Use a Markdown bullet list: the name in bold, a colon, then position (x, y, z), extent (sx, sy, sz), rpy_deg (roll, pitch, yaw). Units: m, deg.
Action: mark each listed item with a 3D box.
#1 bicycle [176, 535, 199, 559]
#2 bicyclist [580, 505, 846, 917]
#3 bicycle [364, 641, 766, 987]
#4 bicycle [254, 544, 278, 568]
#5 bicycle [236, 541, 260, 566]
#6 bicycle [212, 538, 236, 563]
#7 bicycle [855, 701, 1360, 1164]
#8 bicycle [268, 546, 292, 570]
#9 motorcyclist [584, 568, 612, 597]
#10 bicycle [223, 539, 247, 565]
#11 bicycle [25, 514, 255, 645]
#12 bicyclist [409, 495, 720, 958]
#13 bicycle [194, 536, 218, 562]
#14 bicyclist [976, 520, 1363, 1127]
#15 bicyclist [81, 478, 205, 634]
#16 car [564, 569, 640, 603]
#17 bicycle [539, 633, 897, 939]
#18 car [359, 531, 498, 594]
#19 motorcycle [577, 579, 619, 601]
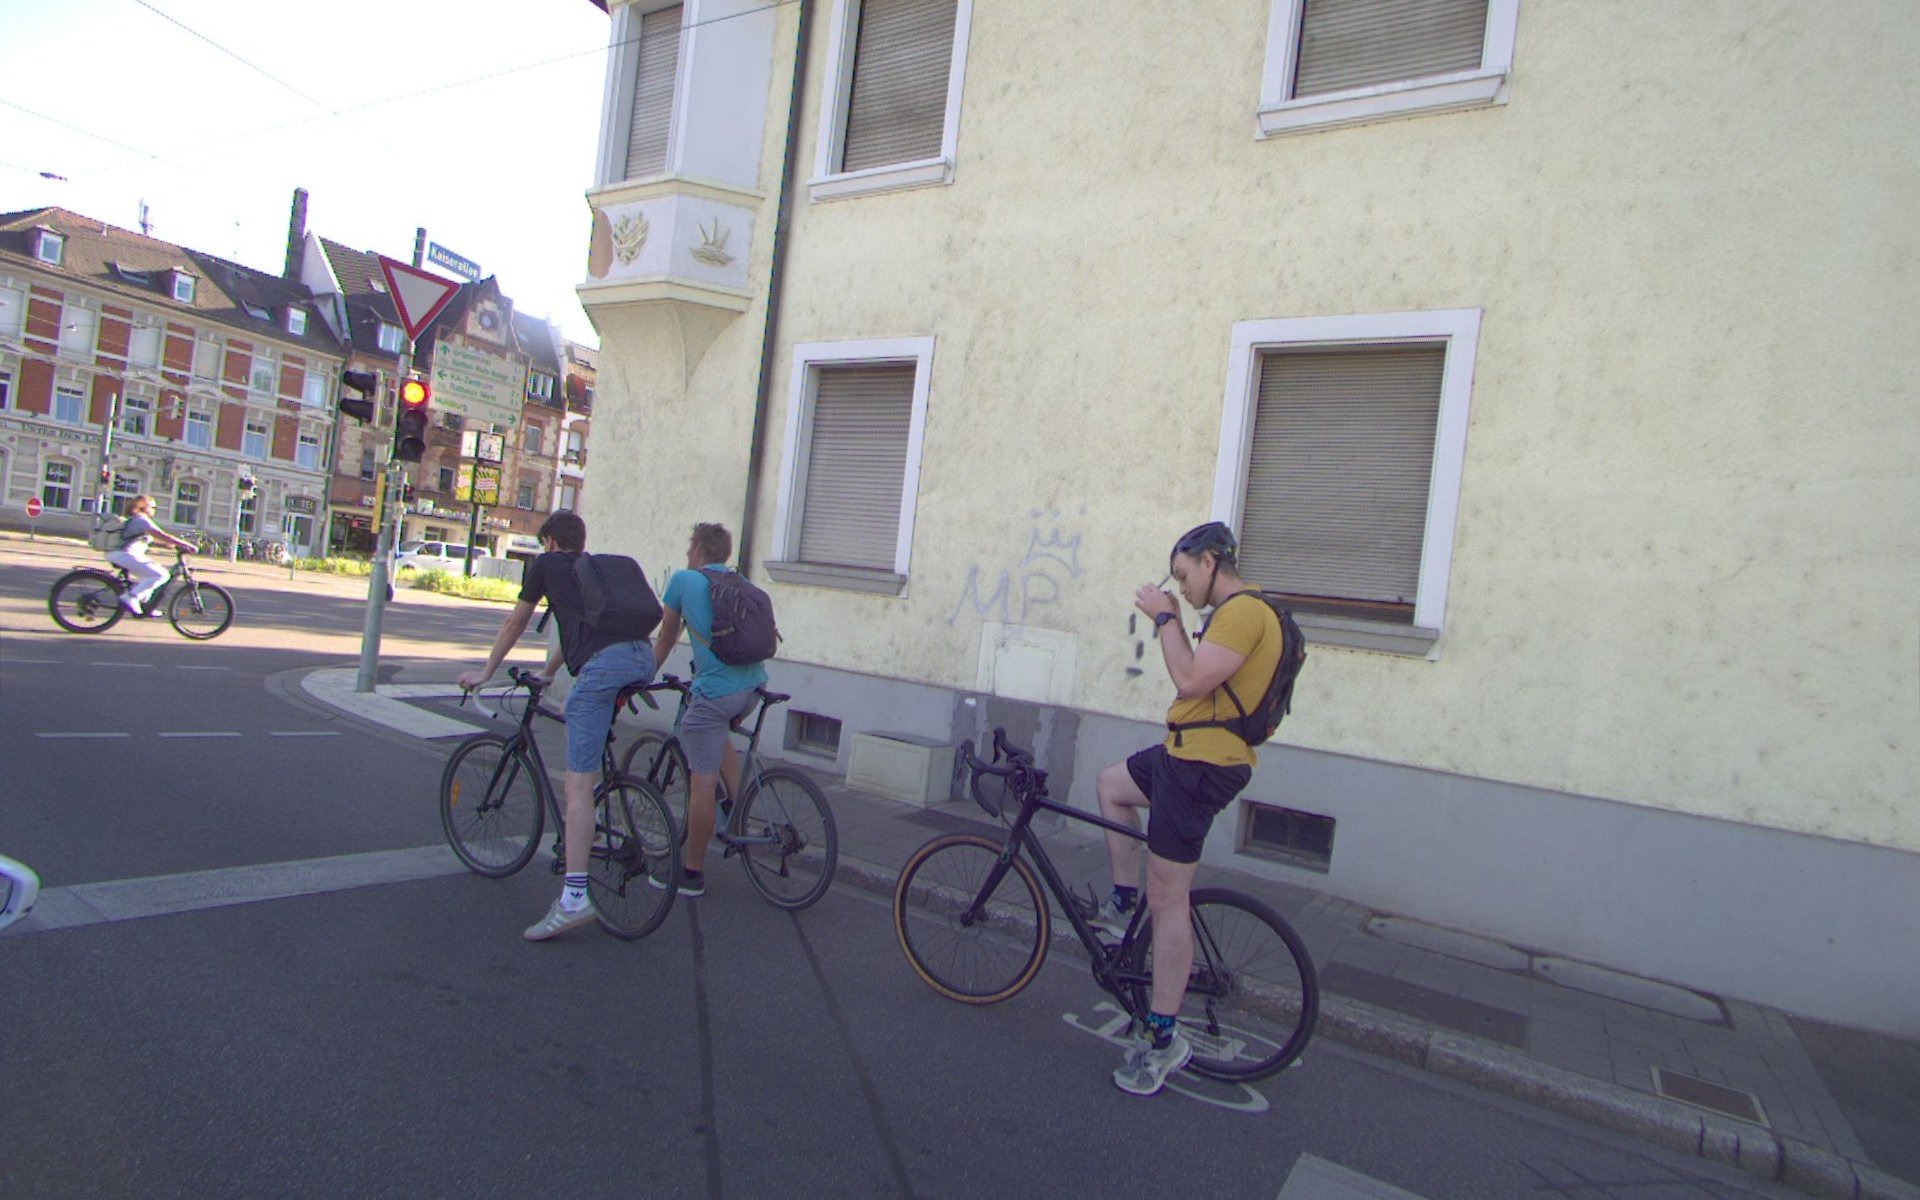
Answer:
- **bicycle**: position (-35.075, -2.418, 45.673), extent (1.759, 0.925, 0.485), rpy_deg (7, 0, 42)
- **bicyclist**: position (-1.294, 0.529, 5.281), extent (0.978, 1.910, 0.652), rpy_deg (7, 0, 32)
- **bicycle**: position (-1.807, 0.840, 4.478), extent (1.858, 1.071, 0.571), rpy_deg (7, 0, 32)
- **bicycle**: position (-33.321, -2.118, 48.298), extent (1.759, 1.033, 0.485), rpy_deg (7, 0, 42)
- **bicycle**: position (-33.685, -2.195, 47.571), extent (1.759, 1.033, 0.485), rpy_deg (7, 0, 42)
- **bicycle**: position (-34.199, -2.296, 46.755), extent (1.759, 1.033, 0.485), rpy_deg (7, 0, 42)
- **bicycle**: position (0.505, 1.095, 3.783), extent (1.670, 1.180, 0.571), rpy_deg (7, 0, 32)
- **bicycle**: position (-33.102, -2.062, 48.986), extent (1.759, 1.033, 0.485), rpy_deg (7, 0, 42)
- **motorcyclist**: position (-18.634, -0.893, 51.814), extent (0.732, 1.371, 1.004), rpy_deg (7, 0, 32)
- **bicycle**: position (-34.012, -2.254, 47.179), extent (1.759, 1.033, 0.485), rpy_deg (7, 0, 42)
- **bicycle**: position (-9.767, -0.198, 12.084), extent (0.613, 1.314, 1.945), rpy_deg (7, -1, 30)
- **bicyclist**: position (-1.758, 0.497, 4.480), extent (0.978, 1.788, 0.652), rpy_deg (7, 0, 32)
- **bicycle**: position (-34.650, -2.345, 46.209), extent (1.759, 1.033, 0.485), rpy_deg (7, 0, 42)
- **bicyclist**: position (0.764, 0.702, 3.667), extent (1.019, 1.839, 0.652), rpy_deg (7, 0, 32)
- **bicyclist**: position (-9.777, -0.513, 12.049), extent (0.721, 1.735, 0.800), rpy_deg (7, 0, 30)
- **car**: position (-23.184, -0.888, 65.238), extent (1.966, 1.641, 4.261), rpy_deg (7, -1, 29)
- **bicycle**: position (-1.318, 0.882, 5.291), extent (1.858, 1.180, 0.571), rpy_deg (7, 0, 32)
- **car**: position (-23.279, -1.613, 44.271), extent (1.967, 2.037, 4.988), rpy_deg (7, -1, 31)
- **motorcycle**: position (-18.633, -0.521, 51.839), extent (0.552, 0.908, 2.043), rpy_deg (7, -1, 31)
